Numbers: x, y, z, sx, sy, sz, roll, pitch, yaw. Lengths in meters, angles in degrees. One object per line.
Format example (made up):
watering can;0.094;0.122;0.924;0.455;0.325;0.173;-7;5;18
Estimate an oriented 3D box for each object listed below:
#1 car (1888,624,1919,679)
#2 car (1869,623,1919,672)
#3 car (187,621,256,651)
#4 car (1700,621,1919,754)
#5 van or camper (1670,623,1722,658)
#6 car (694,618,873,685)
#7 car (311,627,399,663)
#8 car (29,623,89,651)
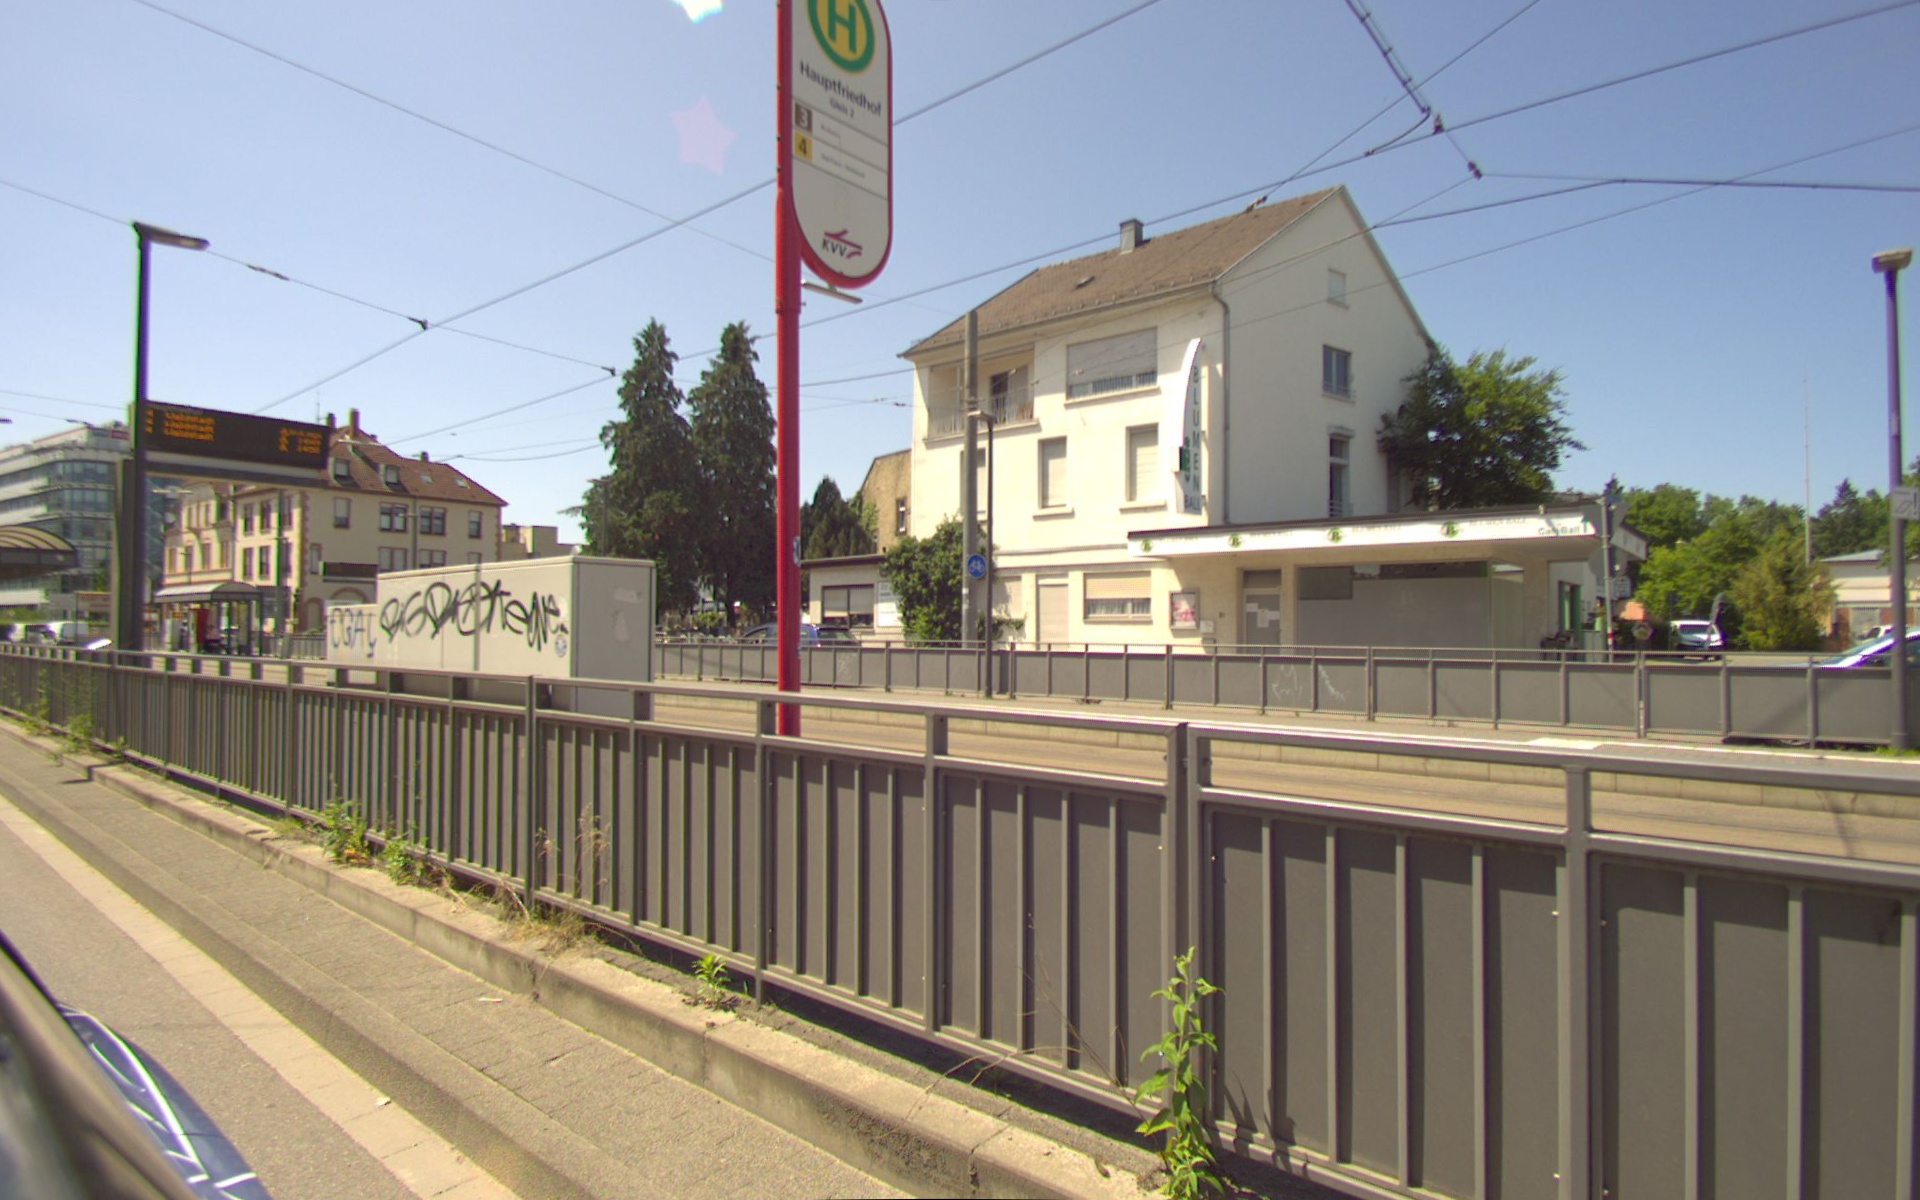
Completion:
car;25.625;1.365;26.665;1.644;1.381;3.760;-2;-3;42
car;29.533;1.497;31.551;1.644;1.457;3.761;-2;-3;41
car;-38.155;1.866;52.253;4.618;1.479;1.800;-2;-2;39
car;10.672;0.940;10.983;4.052;1.373;1.797;-2;-4;44
van or camper;34.779;1.895;47.915;1.686;1.578;3.784;-1;-2;32
car;-4.288;1.183;24.214;4.476;1.453;1.837;-2;-2;41
car;-25.092;1.834;41.914;4.170;1.406;1.800;-2;-2;39
car;-61.299;2.498;68.830;4.684;1.830;1.841;-1;-3;33
